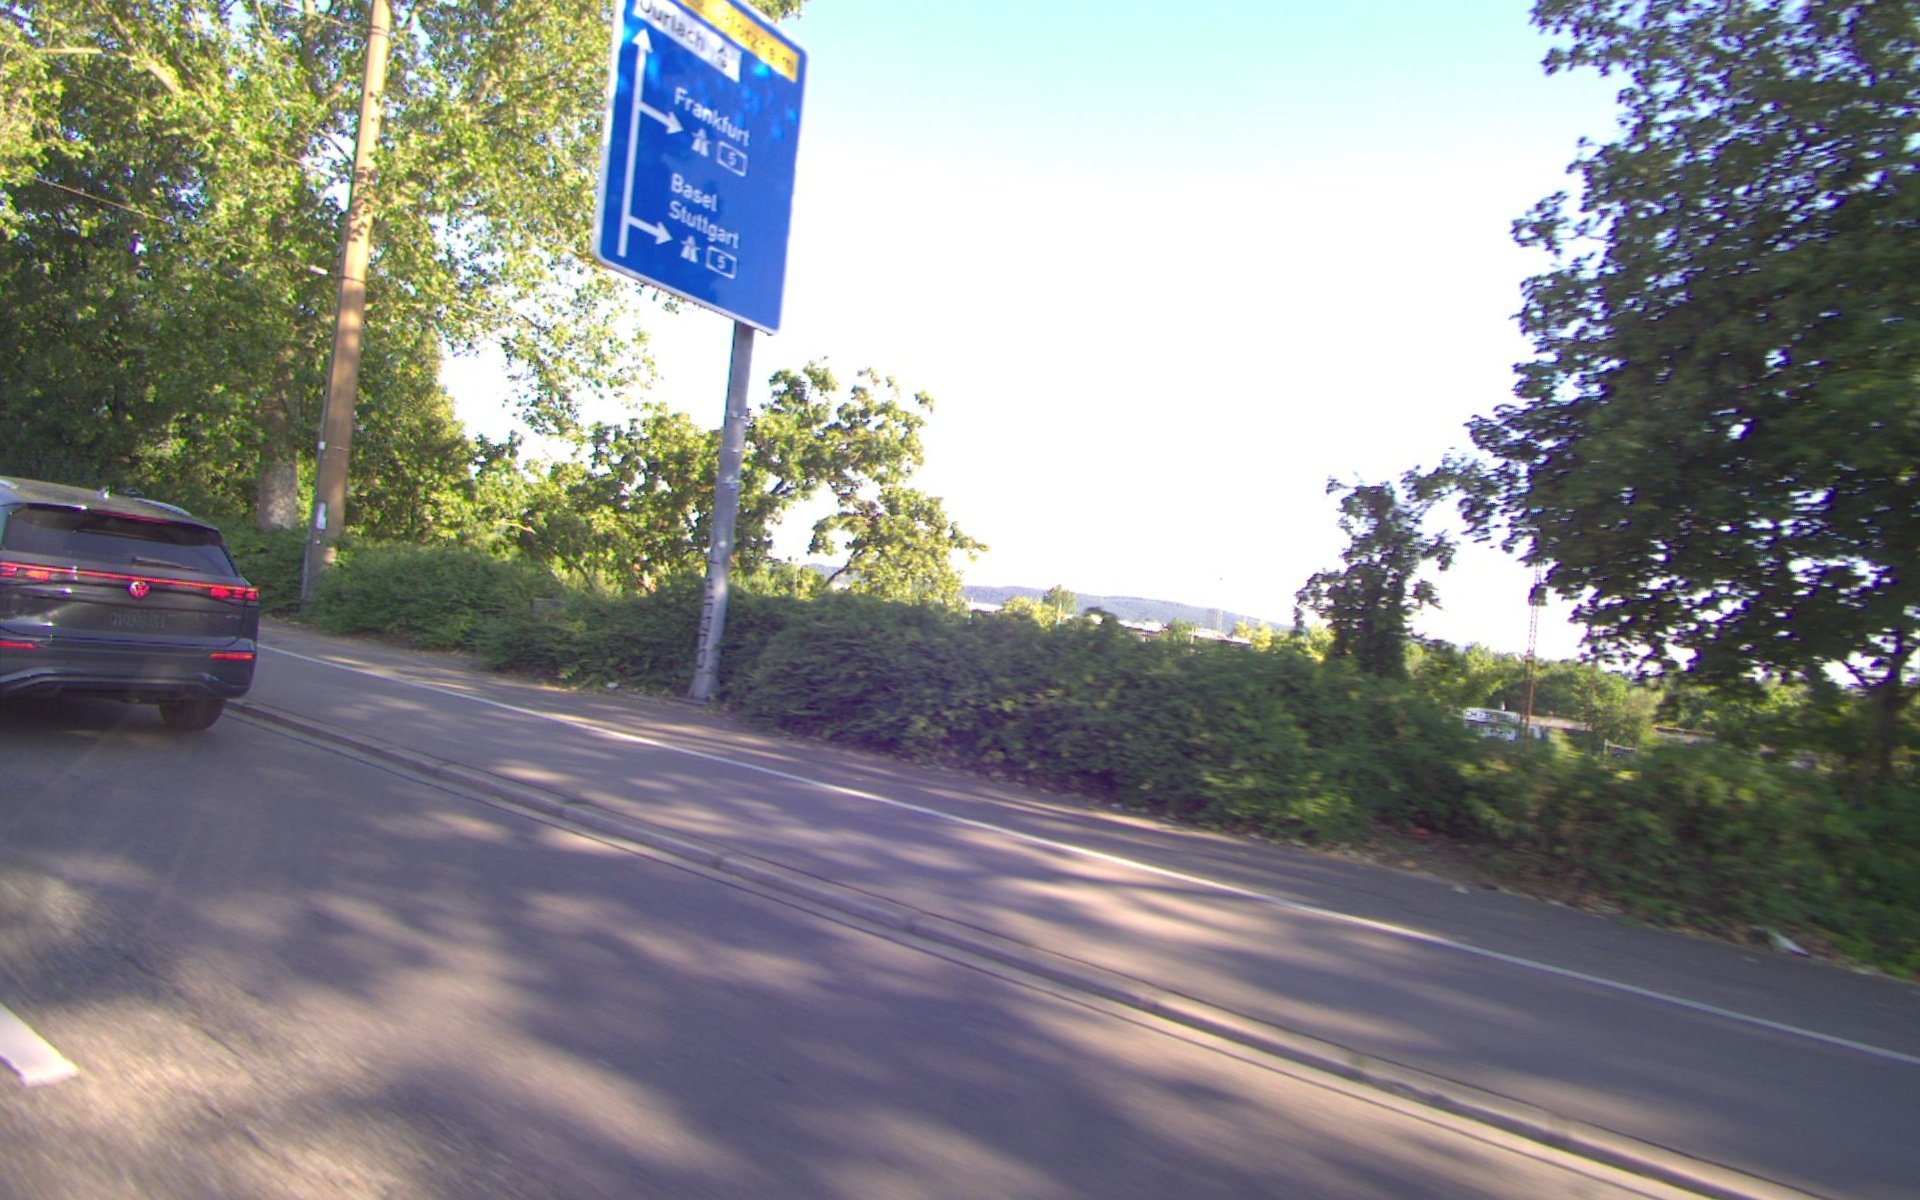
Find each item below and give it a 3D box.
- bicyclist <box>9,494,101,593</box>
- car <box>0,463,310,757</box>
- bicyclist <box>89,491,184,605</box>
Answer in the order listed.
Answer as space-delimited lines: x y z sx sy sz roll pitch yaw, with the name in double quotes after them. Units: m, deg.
-12.484 -0.773 13.881 0.876 1.241 0.641 7 1 31 "bicyclist"
-7.037 -0.057 7.448 4.365 1.680 1.849 6 -2 31 "car"
-12.054 -0.758 14.726 0.876 1.527 0.687 7 0 31 "bicyclist"
